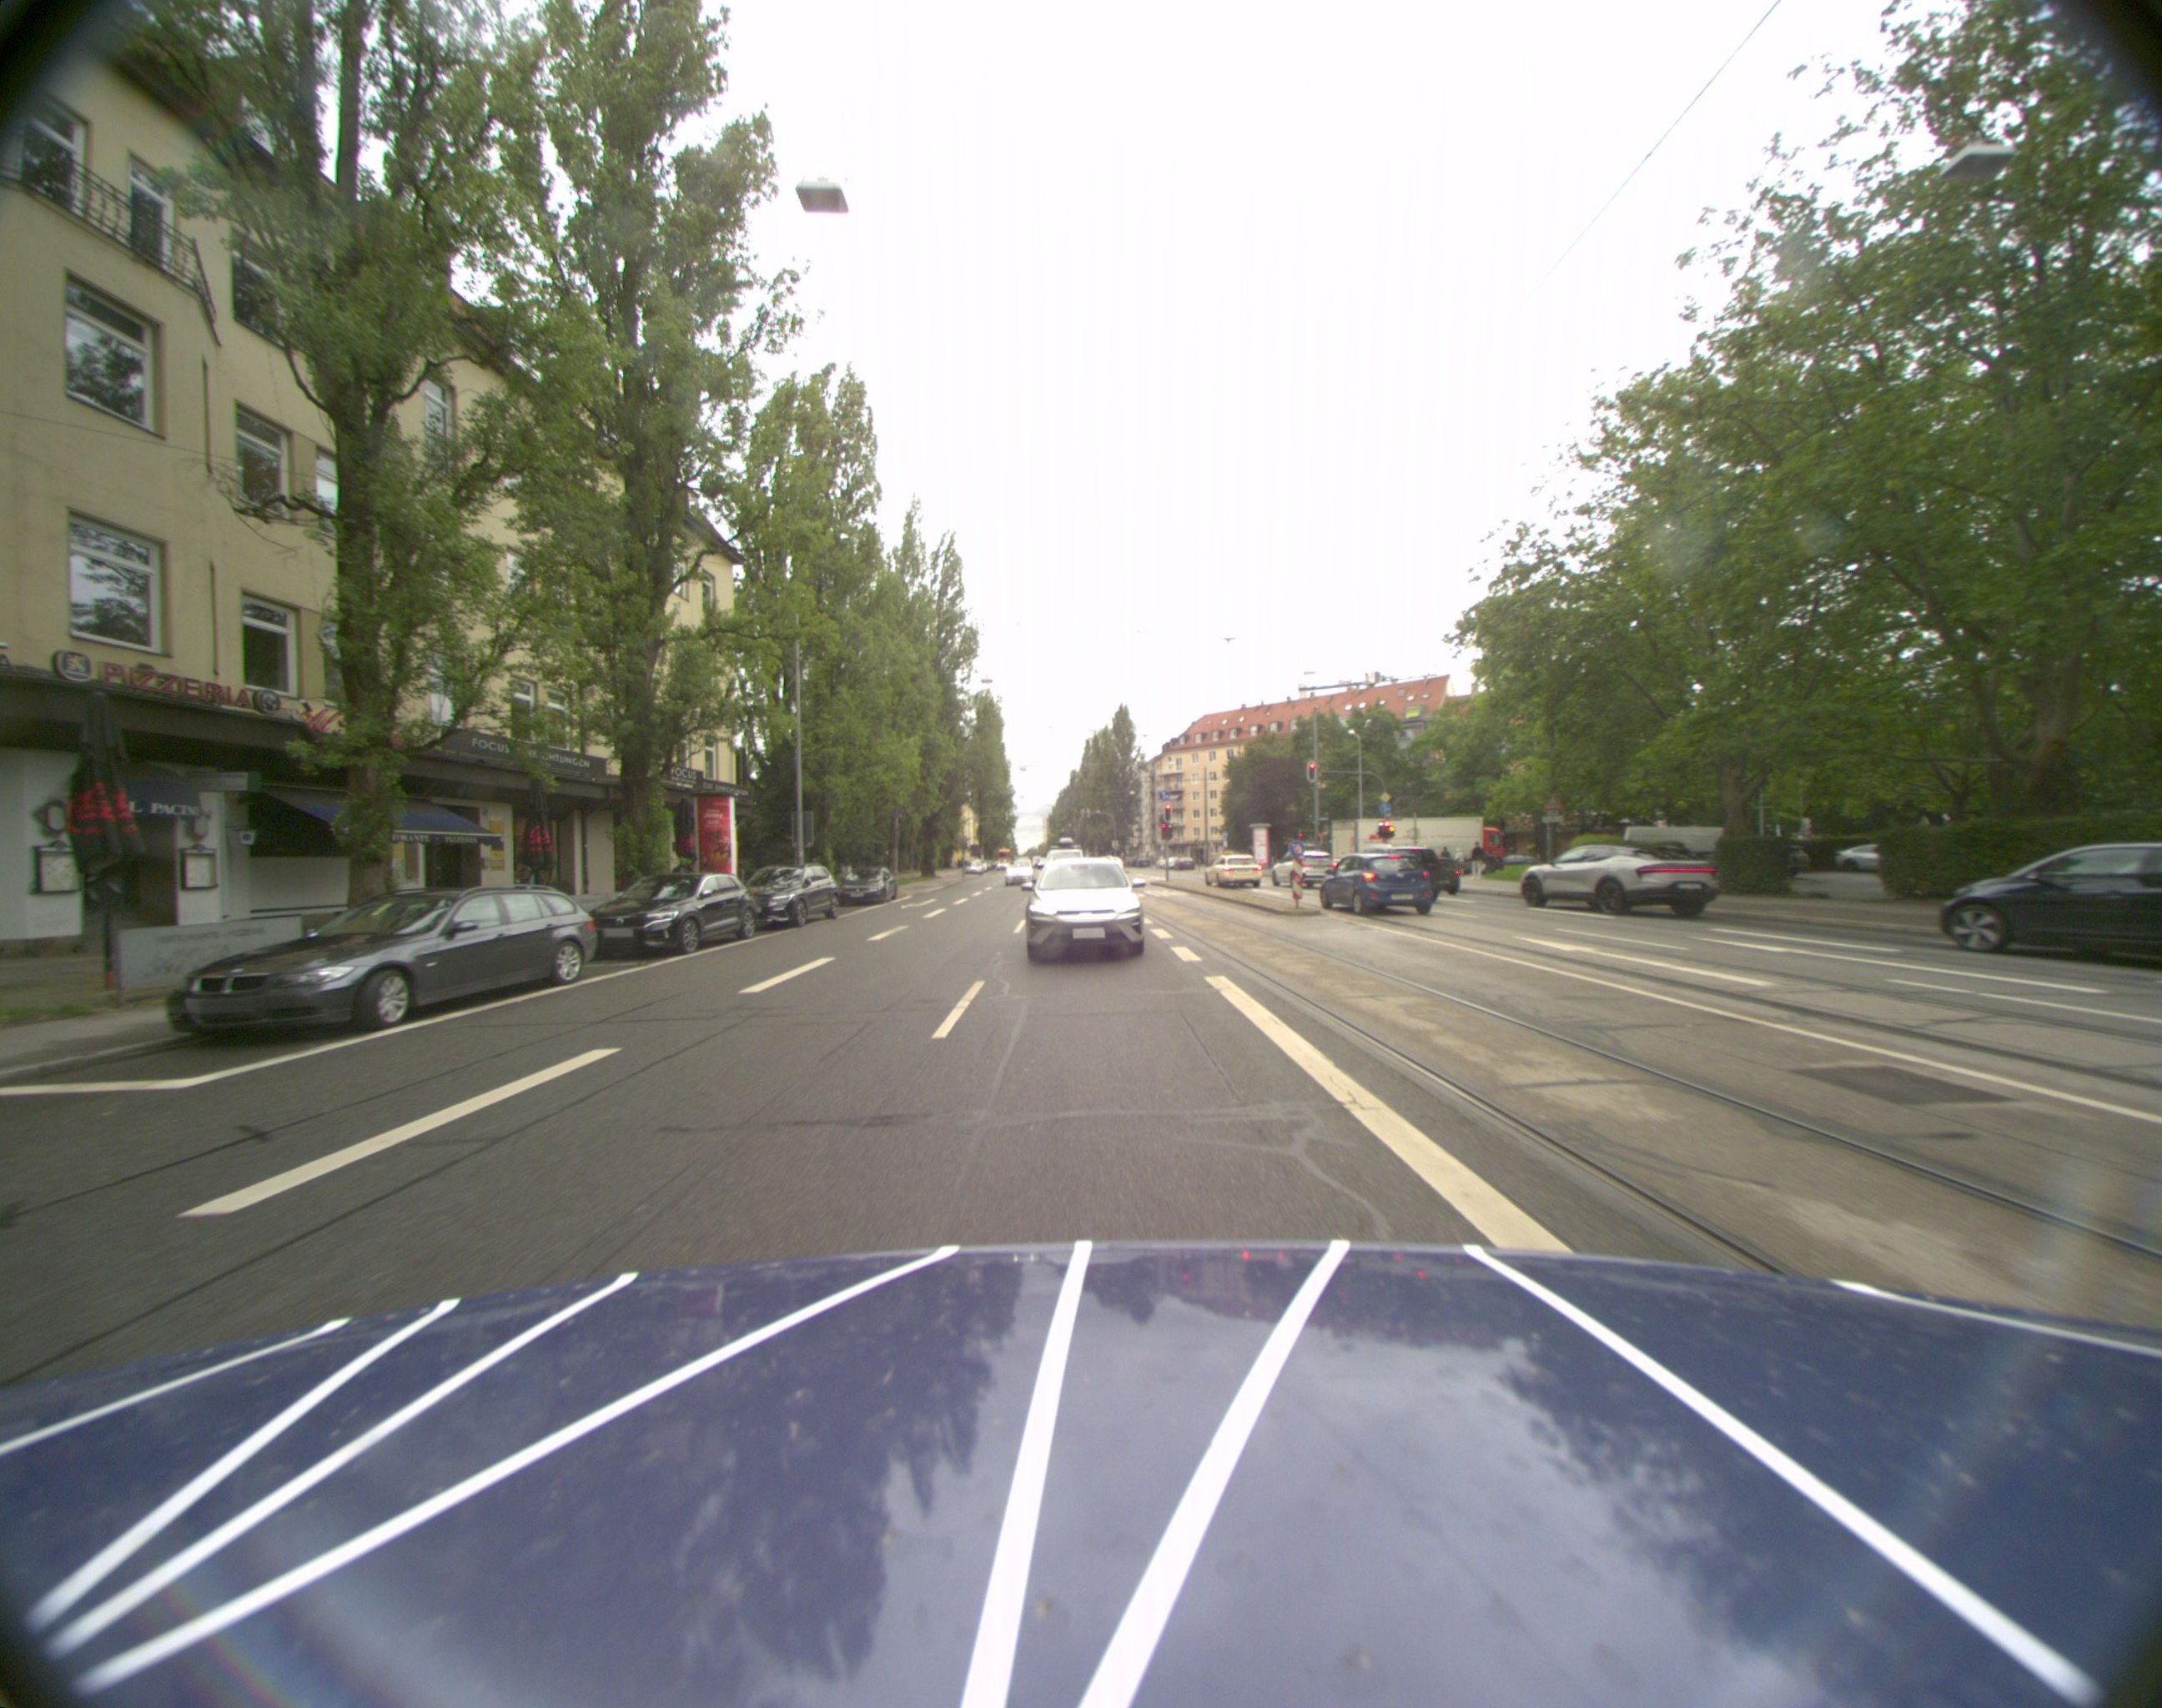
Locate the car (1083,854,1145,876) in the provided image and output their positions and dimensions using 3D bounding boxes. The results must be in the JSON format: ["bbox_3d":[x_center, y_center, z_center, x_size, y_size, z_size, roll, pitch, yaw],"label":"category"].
[{"bbox_3d":[2.433,0.790,56.181,4.213,1.515,1.773,-1,-1,-24],"label":"car"}]

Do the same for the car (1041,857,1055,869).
[{"bbox_3d":[-4.524,1.258,104.911,1.786,1.477,4.137,-1,0,-4],"label":"car"}]

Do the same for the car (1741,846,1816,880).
[{"bbox_3d":[34.178,0.458,37.321,1.467,1.571,2.836,-2,-2,14],"label":"car"}]

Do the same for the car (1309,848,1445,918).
[{"bbox_3d":[7.253,0.632,19.123,1.804,1.514,4.354,0,1,1],"label":"car"}]

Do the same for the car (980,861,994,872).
[{"bbox_3d":[-13.621,1.848,110.808,1.786,1.477,4.137,-1,0,-4],"label":"car"}]

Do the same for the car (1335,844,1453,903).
[{"bbox_3d":[9.900,0.550,24.470,1.826,1.673,4.891,-1,0,1],"label":"car"}]

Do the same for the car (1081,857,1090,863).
[{"bbox_3d":[1.208,1.576,192.434,1.818,1.461,3.999,-2,-2,-7],"label":"car"}]

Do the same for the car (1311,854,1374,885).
[{"bbox_3d":[12.929,0.726,37.841,1.735,1.403,4.102,2,0,1],"label":"car"}]

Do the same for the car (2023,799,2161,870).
[{"bbox_3d":[39.499,-0.707,28.151,1.998,2.519,5.866,-2,-2,3],"label":"car"}]

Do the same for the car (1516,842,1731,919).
[{"bbox_3d":[13.087,0.561,18.826,1.804,1.633,4.999,-1,0,1],"label":"car"}]

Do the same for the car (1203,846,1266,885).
[{"bbox_3d":[6.956,0.502,34.938,1.827,1.629,4.890,-1,0,-1],"label":"car"}]

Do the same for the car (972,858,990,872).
[{"bbox_3d":[-11.556,1.278,88.189,1.786,1.477,4.257,-1,0,-4],"label":"car"}]

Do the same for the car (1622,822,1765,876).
[{"bbox_3d":[26.576,-0.263,33.078,4.612,2.003,2.004,5,4,41],"label":"car"}]

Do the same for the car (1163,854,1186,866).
[{"bbox_3d":[10.683,0.676,87.019,1.730,1.399,4.373,-1,0,-4],"label":"car"}]

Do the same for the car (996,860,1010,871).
[{"bbox_3d":[-11.110,1.679,108.362,1.786,1.477,4.137,-1,0,-4],"label":"car"}]

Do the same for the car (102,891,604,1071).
[{"bbox_3d":[-8.036,1.268,9.147,1.804,1.390,4.381,-1,0,0],"label":"car"}]

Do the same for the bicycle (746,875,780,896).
[{"bbox_3d":[-14.260,1.413,34.088,1.371,0.878,0.389,-1,1,-3],"label":"bicycle"}]

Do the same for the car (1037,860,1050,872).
[{"bbox_3d":[-5.773,1.822,116.319,1.858,1.673,3.999,-2,-2,-5],"label":"car"}]

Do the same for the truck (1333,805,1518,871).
[{"bbox_3d":[21.972,-0.979,48.381,11.722,3.957,2.744,0,1,-16],"label":"truck"}]

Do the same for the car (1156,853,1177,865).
[{"bbox_3d":[10.365,0.609,92.267,1.730,1.399,4.373,-1,0,-4],"label":"car"}]

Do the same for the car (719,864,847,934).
[{"bbox_3d":[-7.938,1.125,20.727,1.725,1.603,4.470,-1,0,0],"label":"car"}]

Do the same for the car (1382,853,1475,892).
[{"bbox_3d":[13.566,0.684,29.933,1.826,1.373,4.098,-1,0,1],"label":"car"}]

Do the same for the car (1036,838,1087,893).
[{"bbox_3d":[-0.813,0.496,34.912,1.912,2.337,4.946,-1,0,3],"label":"car"}]

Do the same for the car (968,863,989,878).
[{"bbox_3d":[-11.060,1.769,81.890,1.786,1.477,4.351,-1,0,-2],"label":"car"}]

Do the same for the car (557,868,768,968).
[{"bbox_3d":[-8.047,1.132,15.159,1.804,1.603,4.305,-1,0,0],"label":"car"}]

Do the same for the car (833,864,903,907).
[{"bbox_3d":[-8.275,1.186,29.814,1.804,1.457,3.998,-2,0,-4],"label":"car"}]

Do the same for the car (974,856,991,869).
[{"bbox_3d":[-12.039,0.999,92.906,1.786,1.477,4.137,-1,0,-4],"label":"car"}]

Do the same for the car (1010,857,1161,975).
[{"bbox_3d":[0.258,0.853,11.966,1.774,1.515,4.212,-1,-1,8],"label":"car"}]

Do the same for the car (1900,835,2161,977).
[{"bbox_3d":[13.525,0.599,9.558,1.804,1.657,4.354,-1,0,1],"label":"car"}]

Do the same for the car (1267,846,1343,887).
[{"bbox_3d":[9.864,0.503,33.855,1.920,1.673,4.890,-1,0,0],"label":"car"}]
